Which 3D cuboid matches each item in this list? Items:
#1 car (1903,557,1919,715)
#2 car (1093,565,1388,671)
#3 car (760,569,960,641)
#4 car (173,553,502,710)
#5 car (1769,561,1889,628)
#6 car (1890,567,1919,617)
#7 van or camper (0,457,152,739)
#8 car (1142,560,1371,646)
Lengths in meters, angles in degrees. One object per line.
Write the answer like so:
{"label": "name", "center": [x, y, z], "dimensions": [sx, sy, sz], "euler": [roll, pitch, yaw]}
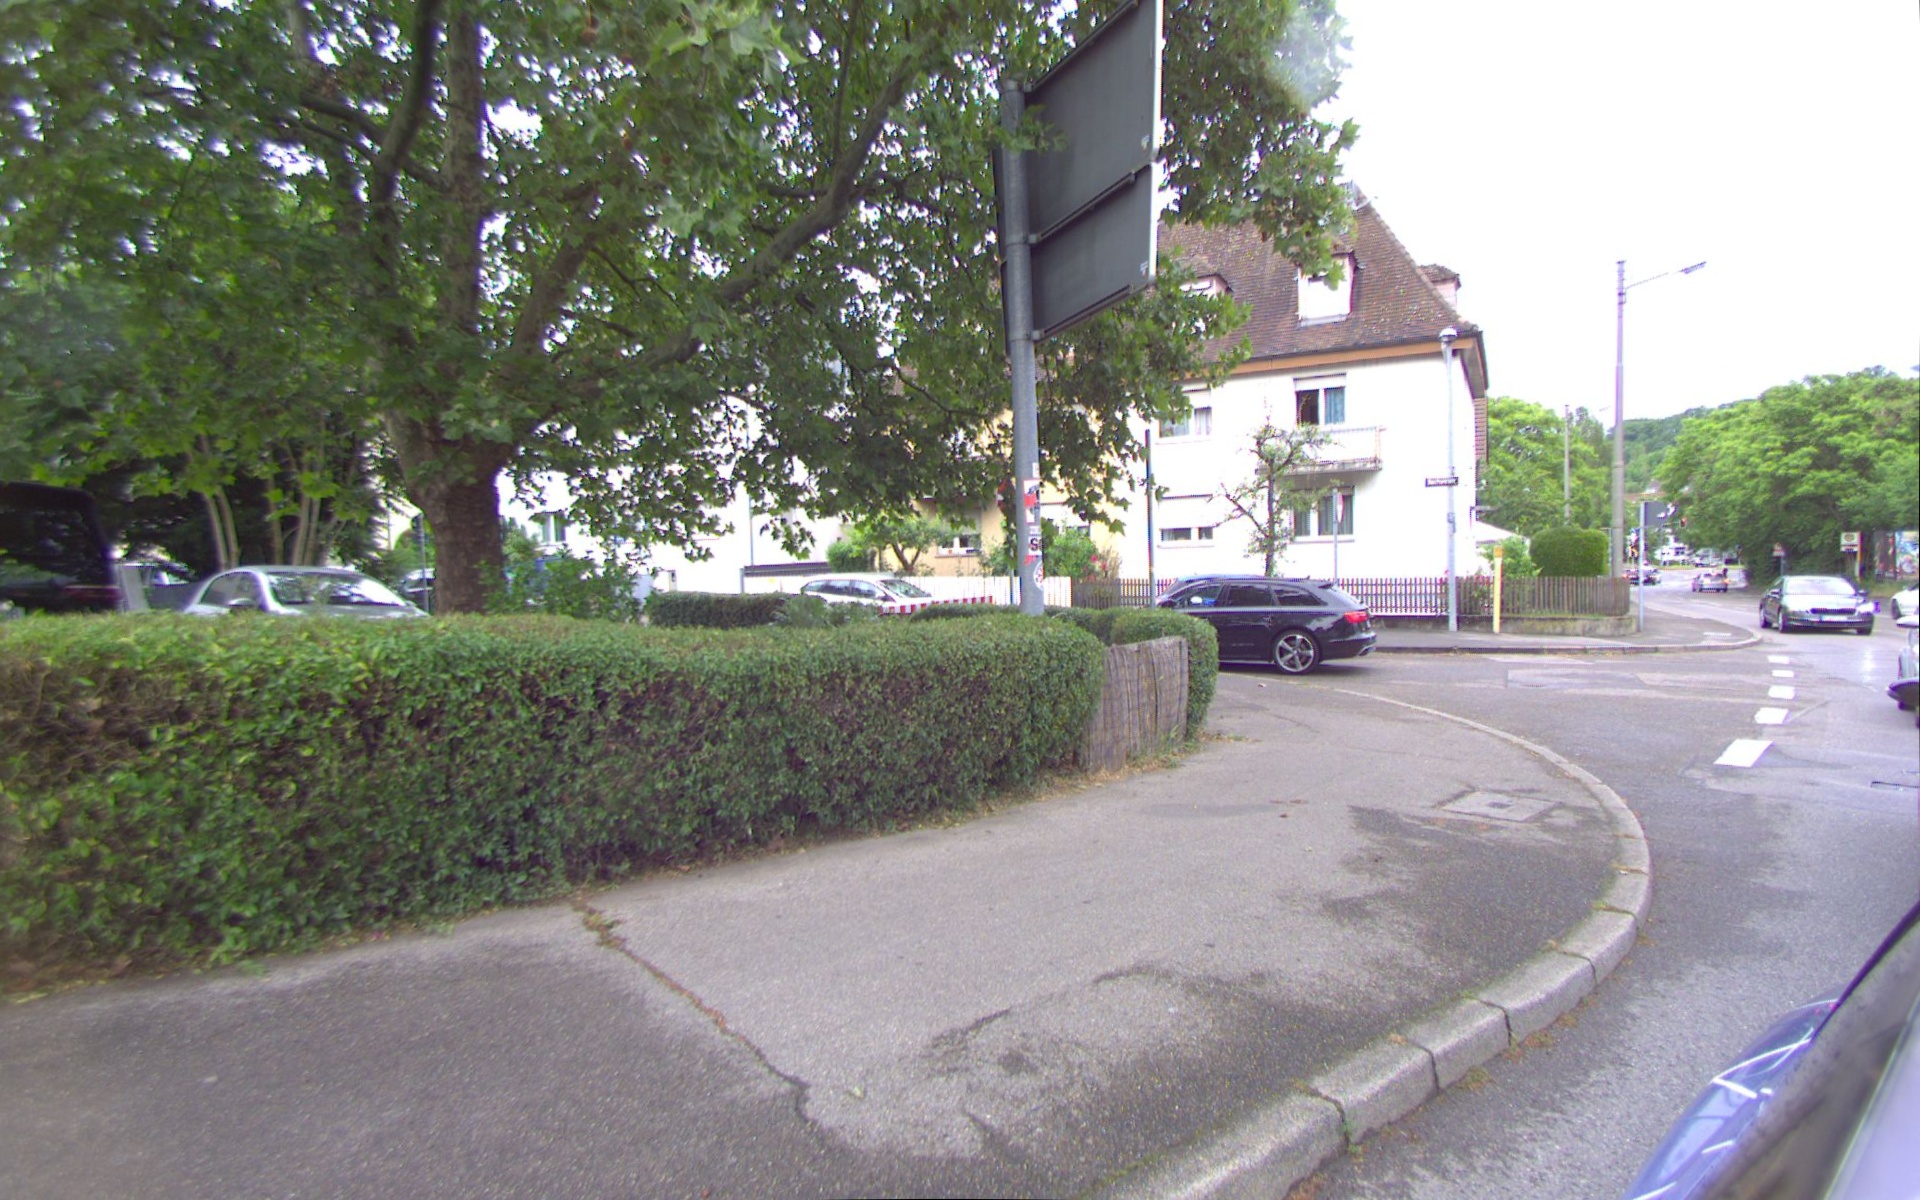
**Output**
{"label": "car", "center": [11.326, 0.342, 10.855], "dimensions": [1.639, 1.577, 3.574], "euler": [1, 1, 41]}
{"label": "car", "center": [4.546, 0.222, 16.464], "dimensions": [4.350, 1.532, 1.982], "euler": [0, 1, 27]}
{"label": "car", "center": [-2.352, 0.078, 23.585], "dimensions": [4.356, 1.532, 1.979], "euler": [0, 1, 30]}
{"label": "car", "center": [-7.181, 0.260, 11.550], "dimensions": [3.979, 1.482, 1.973], "euler": [1, 1, 38]}
{"label": "car", "center": [22.171, -0.172, 25.962], "dimensions": [1.695, 1.577, 3.956], "euler": [0, 1, 31]}
{"label": "car", "center": [30.982, -0.239, 31.200], "dimensions": [1.823, 1.577, 5.525], "euler": [0, 1, 25]}
{"label": "van or camper", "center": [-8.505, -0.024, 7.819], "dimensions": [4.286, 1.927, 1.981], "euler": [0, 1, 27]}
{"label": "car", "center": [5.670, -0.004, 19.379], "dimensions": [3.960, 1.482, 1.845], "euler": [1, 2, 26]}
